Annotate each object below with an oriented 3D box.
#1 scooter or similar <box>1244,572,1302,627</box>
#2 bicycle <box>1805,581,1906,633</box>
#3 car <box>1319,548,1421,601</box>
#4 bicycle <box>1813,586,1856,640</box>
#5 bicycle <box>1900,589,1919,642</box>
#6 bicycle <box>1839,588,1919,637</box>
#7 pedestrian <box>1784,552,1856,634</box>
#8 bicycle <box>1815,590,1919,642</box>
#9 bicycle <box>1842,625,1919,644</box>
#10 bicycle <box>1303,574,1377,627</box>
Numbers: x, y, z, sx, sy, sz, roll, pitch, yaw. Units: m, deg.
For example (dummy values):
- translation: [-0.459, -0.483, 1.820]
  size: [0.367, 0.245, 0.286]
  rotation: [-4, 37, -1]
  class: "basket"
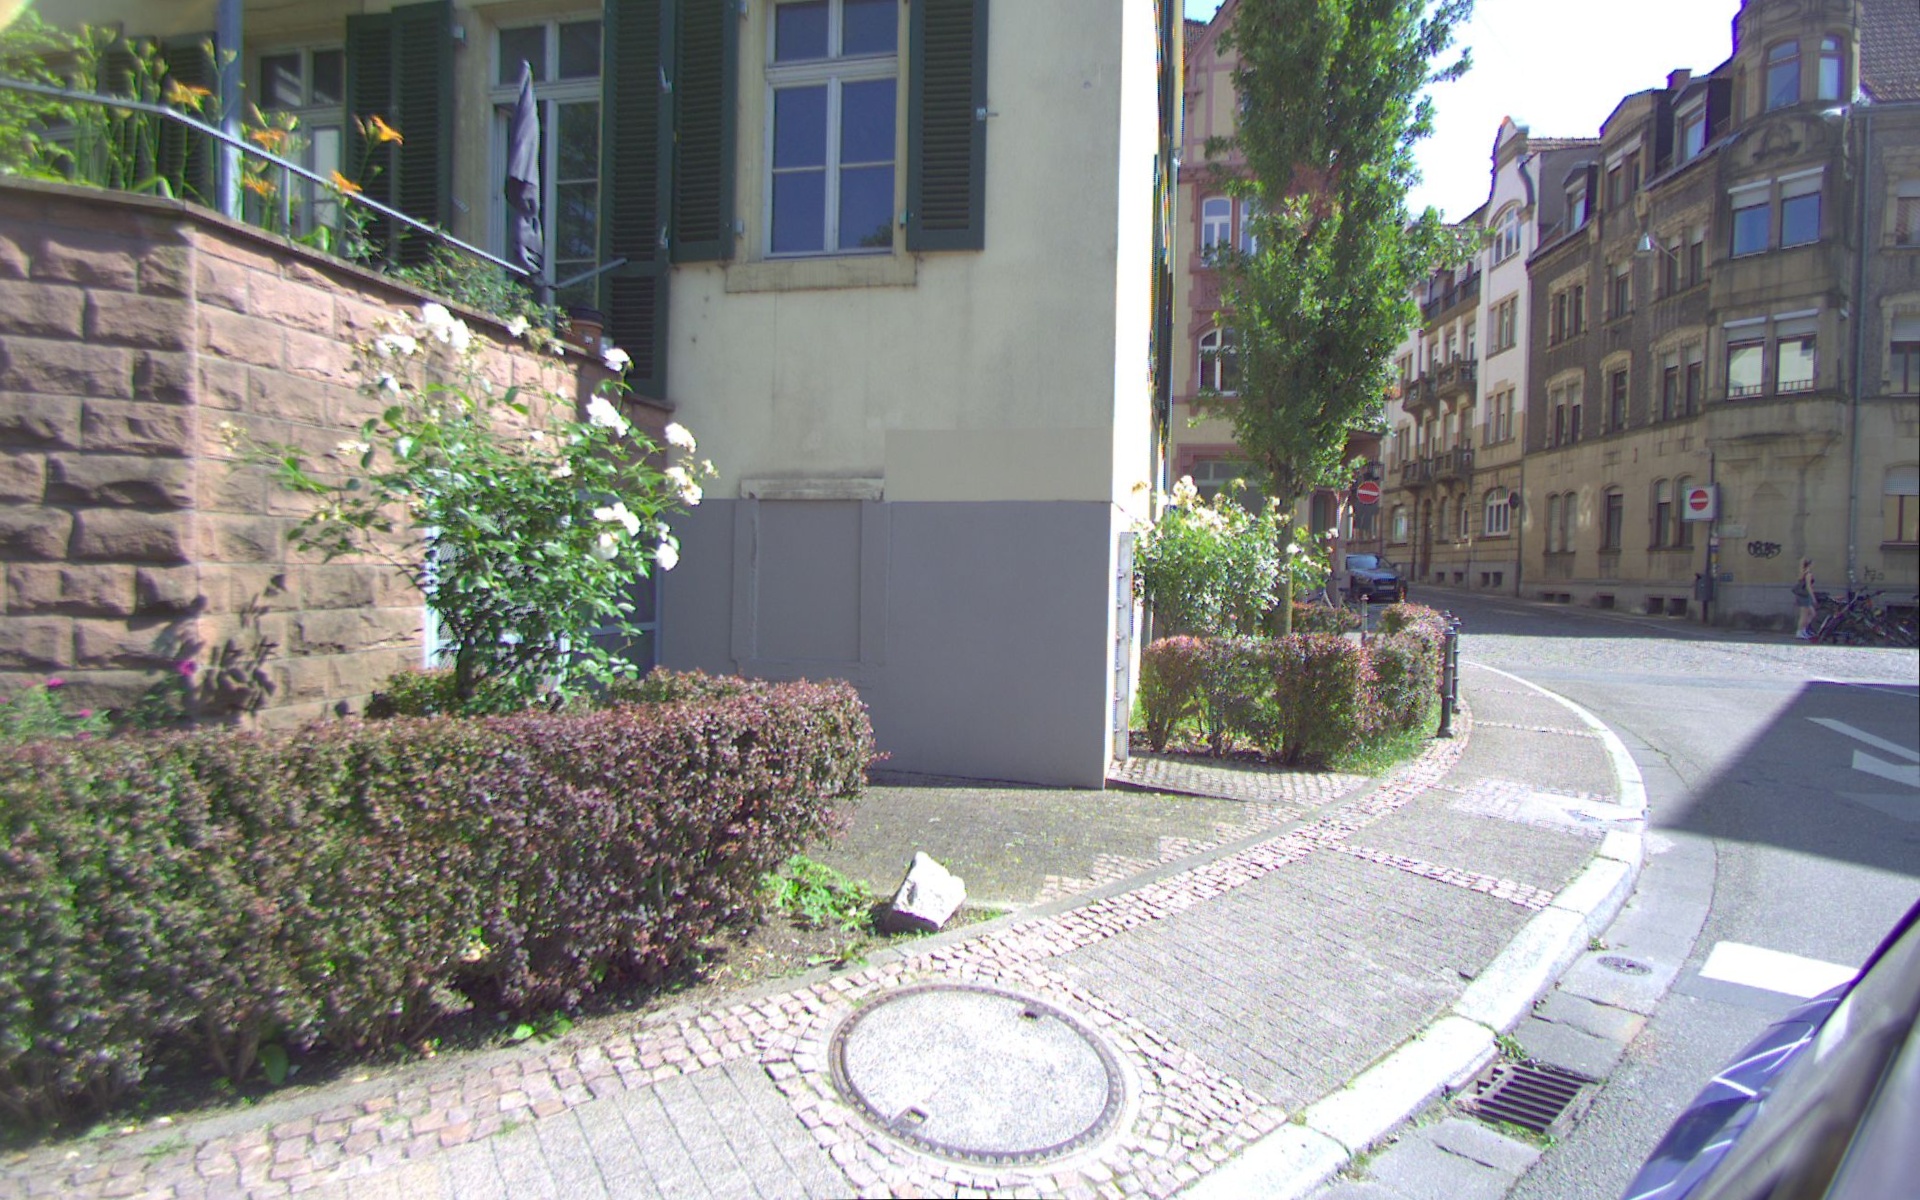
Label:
- translation: [7.291, -0.019, 23.609]
  size: [1.168, 1.250, 0.442]
  rotation: [1, 1, 0]
  class: "scooter or similar"
- translation: [20.623, 0.146, 23.327]
  size: [1.618, 1.098, 0.495]
  rotation: [2, 6, 13]
  class: "bicycle"
- translation: [13.653, -0.912, 33.996]
  size: [1.828, 1.602, 4.261]
  rotation: [-1, 4, 2]
  class: "car"
- translation: [18.827, 0.256, 21.813]
  size: [0.283, 1.099, 1.627]
  rotation: [-2, 1, 27]
  class: "bicycle"
- translation: [20.370, 0.334, 20.788]
  size: [0.280, 1.099, 1.645]
  rotation: [3, -1, -14]
  class: "bicycle"
- translation: [19.928, 0.263, 21.607]
  size: [0.285, 1.080, 1.642]
  rotation: [-42, 0, 3]
  class: "bicycle"
- translation: [19.380, -0.173, 22.825]
  size: [0.966, 1.778, 0.621]
  rotation: [1, 5, 13]
  class: "pedestrian"
- translation: [19.441, 0.324, 21.648]
  size: [0.285, 1.080, 1.642]
  rotation: [-42, 0, 3]
  class: "bicycle"
- translation: [19.410, 0.712, 21.260]
  size: [1.068, 0.291, 1.113]
  rotation: [2, 3, 27]
  class: "bicycle"
- translation: [8.975, -0.014, 23.984]
  size: [0.495, 1.160, 1.798]
  rotation: [1, 3, -23]
  class: "bicycle"
